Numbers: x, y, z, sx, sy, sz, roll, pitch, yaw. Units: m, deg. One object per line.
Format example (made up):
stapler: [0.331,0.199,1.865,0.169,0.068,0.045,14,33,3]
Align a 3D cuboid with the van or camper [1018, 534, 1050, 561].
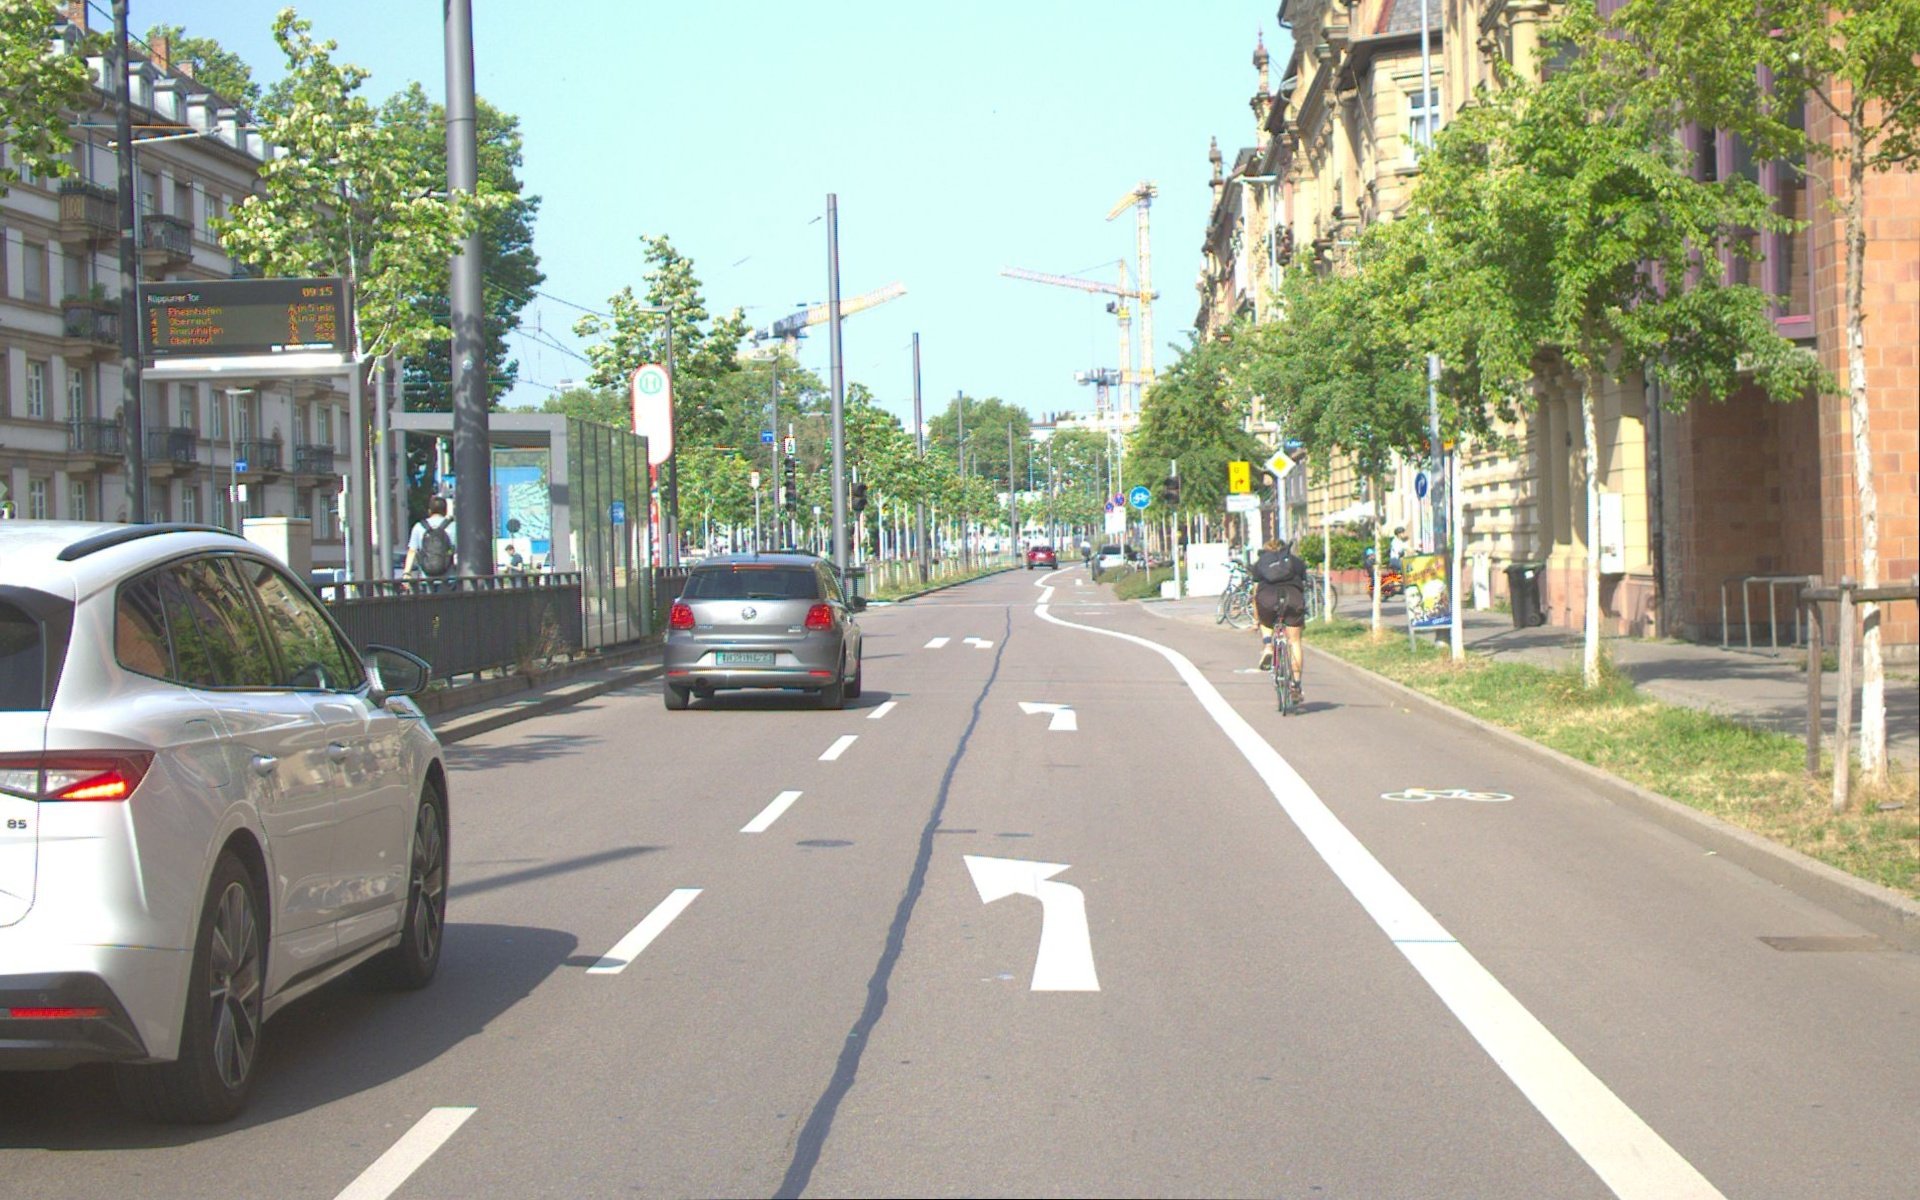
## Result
van or camper: [4.731,-3.360,219.520,1.993,1.649,4.000,-2,1,2]

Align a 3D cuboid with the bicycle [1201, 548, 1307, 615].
bicycle: [5.444,-0.339,63.703,1.755,1.084,0.673,-5,1,-20]

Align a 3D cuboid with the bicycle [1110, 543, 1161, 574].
bicycle: [6.420,-1.521,125.813,1.785,1.050,0.373,-3,1,1]

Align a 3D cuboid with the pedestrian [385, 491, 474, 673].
pedestrian: [-5.955,-0.199,38.631,0.833,2.007,1.028,1,0,-1]

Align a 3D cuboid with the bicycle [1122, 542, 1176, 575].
bicycle: [6.845,-1.502,124.504,1.806,1.092,0.672,-3,1,-3]

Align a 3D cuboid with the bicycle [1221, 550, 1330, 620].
bicycle: [5.601,-0.270,60.987,1.755,1.084,0.611,-5,1,-7]

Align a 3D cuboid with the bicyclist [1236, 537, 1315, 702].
bicyclist: [2.891,0.169,31.570,0.583,1.477,0.932,1,1,-1]

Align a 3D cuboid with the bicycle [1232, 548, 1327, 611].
bicycle: [6.189,-0.401,66.533,1.753,1.084,0.582,-4,1,6]

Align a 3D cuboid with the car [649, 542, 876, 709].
car: [-1.830,0.190,33.095,1.754,1.479,4.406,-1,1,2]

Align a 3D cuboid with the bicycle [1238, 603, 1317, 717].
bicycle: [2.895,0.534,31.467,0.505,0.950,1.785,1,2,-1]

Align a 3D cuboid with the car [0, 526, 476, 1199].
car: [-2.754,0.593,10.260,1.817,1.584,4.406,-1,1,2]

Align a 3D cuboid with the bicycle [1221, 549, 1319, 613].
bicycle: [5.894,-0.359,65.290,1.756,1.084,0.668,-4,1,8]

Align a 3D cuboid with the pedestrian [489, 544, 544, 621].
pedestrian: [-10.840,-0.426,83.933,1.067,1.861,0.864,-2,1,-25]

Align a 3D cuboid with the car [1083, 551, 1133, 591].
car: [6.337,-1.269,147.384,1.769,1.583,4.248,-3,1,-1]
